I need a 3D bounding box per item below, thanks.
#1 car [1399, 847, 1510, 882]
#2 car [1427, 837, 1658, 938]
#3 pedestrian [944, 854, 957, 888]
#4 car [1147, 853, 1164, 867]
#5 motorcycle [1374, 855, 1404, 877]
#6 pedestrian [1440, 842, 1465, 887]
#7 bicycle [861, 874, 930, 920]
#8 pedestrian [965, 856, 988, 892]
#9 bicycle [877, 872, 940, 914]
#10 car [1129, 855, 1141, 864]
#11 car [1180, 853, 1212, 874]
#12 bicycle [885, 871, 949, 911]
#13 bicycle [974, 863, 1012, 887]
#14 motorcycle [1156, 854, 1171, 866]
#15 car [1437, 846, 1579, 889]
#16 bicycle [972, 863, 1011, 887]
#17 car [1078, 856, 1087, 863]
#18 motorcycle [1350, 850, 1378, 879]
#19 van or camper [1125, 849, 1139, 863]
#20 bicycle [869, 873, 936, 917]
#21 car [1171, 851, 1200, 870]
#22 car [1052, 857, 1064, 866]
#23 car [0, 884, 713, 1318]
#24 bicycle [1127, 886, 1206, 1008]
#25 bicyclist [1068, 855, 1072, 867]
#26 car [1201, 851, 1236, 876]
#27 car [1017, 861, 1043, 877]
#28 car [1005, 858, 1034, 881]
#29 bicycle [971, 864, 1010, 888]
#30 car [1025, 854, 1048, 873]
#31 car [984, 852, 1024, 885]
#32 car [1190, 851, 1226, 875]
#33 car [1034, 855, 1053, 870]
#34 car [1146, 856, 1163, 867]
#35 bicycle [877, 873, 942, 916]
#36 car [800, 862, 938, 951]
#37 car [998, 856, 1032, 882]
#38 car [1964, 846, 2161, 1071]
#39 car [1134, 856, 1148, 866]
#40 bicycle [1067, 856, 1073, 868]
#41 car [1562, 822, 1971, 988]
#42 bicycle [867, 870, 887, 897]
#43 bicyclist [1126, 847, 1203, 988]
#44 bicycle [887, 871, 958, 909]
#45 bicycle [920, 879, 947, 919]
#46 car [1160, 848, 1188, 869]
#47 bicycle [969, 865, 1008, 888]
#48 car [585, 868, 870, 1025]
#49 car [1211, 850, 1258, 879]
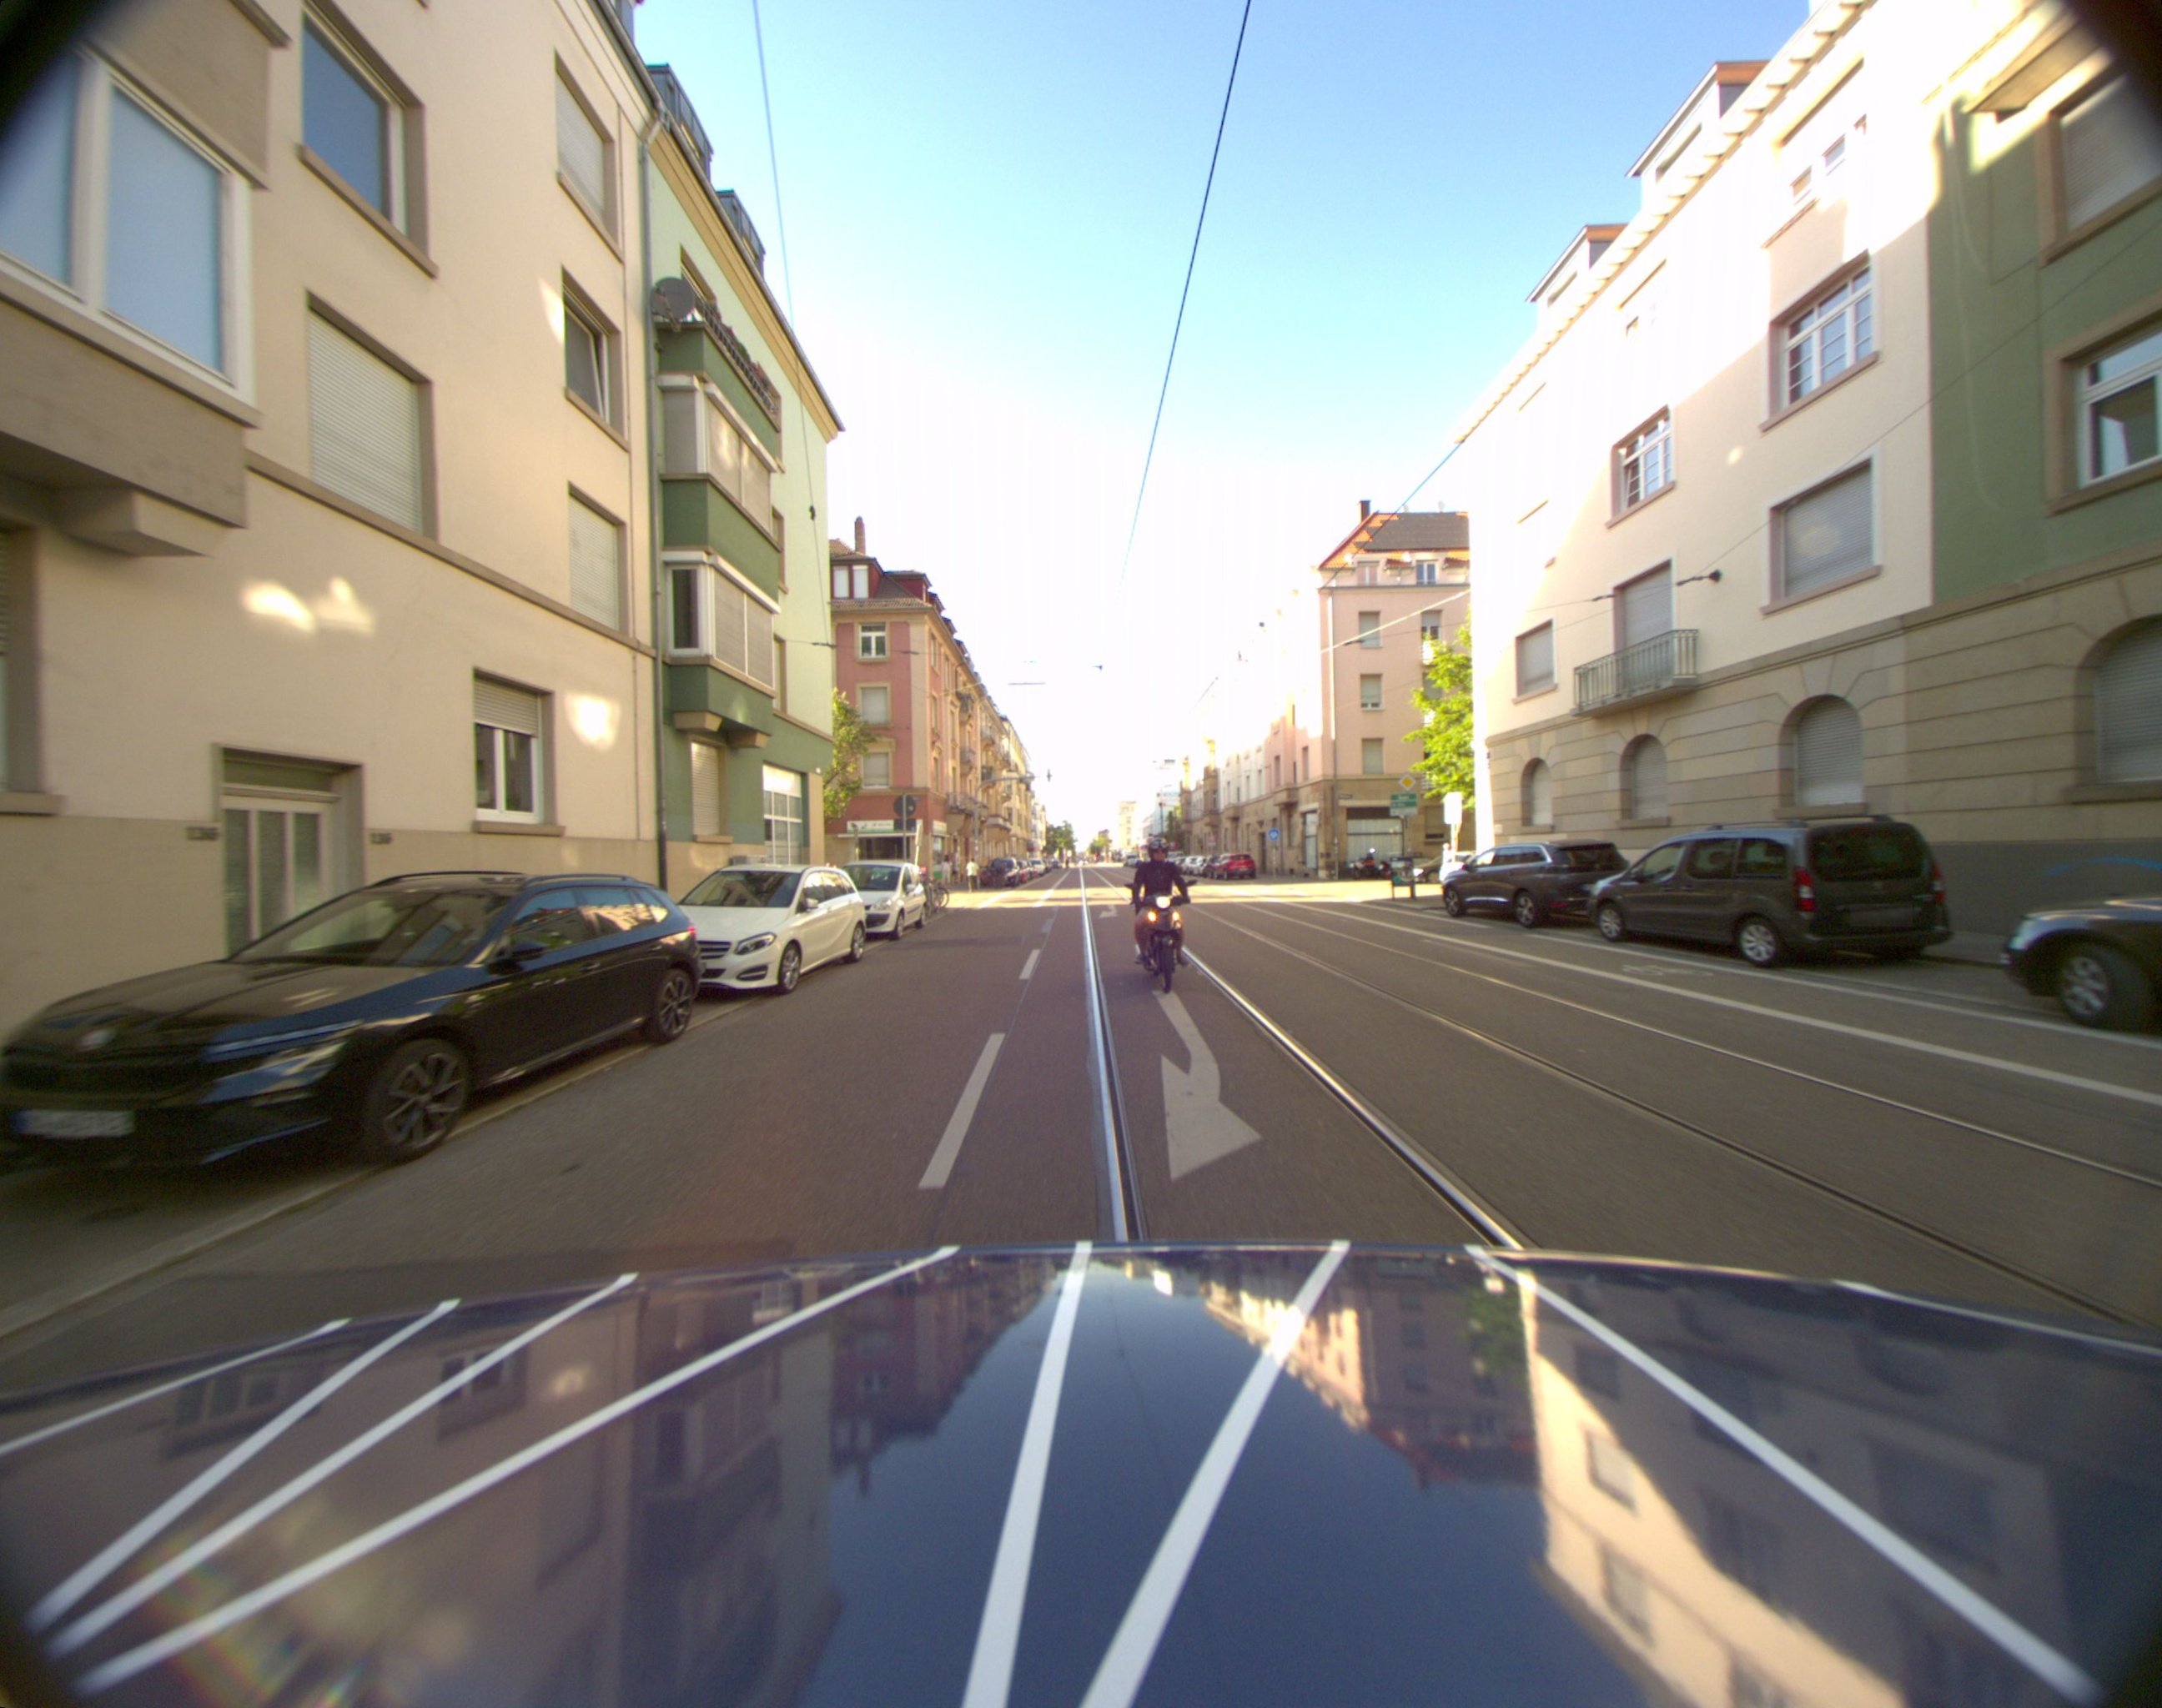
[{"bbox_3d":[16.344,0.480,33.385,3.997,1.385,1.748,-1,-1,-1],"label":"car"},{"bbox_3d":[9.238,0.596,15.790,1.788,1.680,4.667,-3,0,-2],"label":"car"},{"bbox_3d":[-6.591,0.861,38.401,0.514,1.677,0.448,-1,0,0],"label":"pedestrian"},{"bbox_3d":[9.389,0.745,95.764,1.787,1.556,4.611,-3,0,2],"label":"car"},{"bbox_3d":[15.305,0.603,37.731,2.040,1.029,0.555,-1,0,-44],"label":"motorcycle"},{"bbox_3d":[14.469,0.399,29.621,0.608,1.702,0.732,-1,0,0],"label":"pedestrian"},{"bbox_3d":[-5.019,1.157,20.606,1.727,1.148,0.469,2,0,1],"label":"bicycle"},{"bbox_3d":[-4.997,0.960,36.398,0.730,1.624,0.704,-3,2,19],"label":"pedestrian"},{"bbox_3d":[-5.091,1.146,22.456,1.727,1.148,0.469,2,0,1],"label":"bicycle"},{"bbox_3d":[9.524,0.922,134.689,1.787,1.390,4.445,-3,0,1],"label":"car"},{"bbox_3d":[9.350,0.749,62.056,1.776,1.538,4.365,-3,0,-2],"label":"car"},{"bbox_3d":[-5.101,1.150,23.651,1.847,1.148,0.469,2,0,1],"label":"bicycle"},{"bbox_3d":[-4.670,1.107,40.305,1.964,1.220,0.527,0,1,0],"label":"bicycle"},{"bbox_3d":[9.649,0.741,89.106,0.884,1.343,1.961,-2,0,33],"label":"motorcycle"},{"bbox_3d":[15.750,0.518,28.179,4.228,1.456,1.783,-1,-1,-1],"label":"car"},{"bbox_3d":[-4.665,1.109,39.733,1.964,1.220,0.527,0,1,0],"label":"bicycle"},{"bbox_3d":[0.360,1.324,182.037,1.971,1.577,4.000,-2,0,0],"label":"car"},{"bbox_3d":[14.065,0.508,37.689,0.948,1.410,2.029,-1,0,30],"label":"motorcycle"},{"bbox_3d":[9.485,0.308,141.753,2.177,2.453,6.231,-3,0,-1],"label":"van or camper"},{"bbox_3d":[-4.961,1.136,21.184,1.727,1.148,0.469,2,0,1],"label":"bicycle"},{"bbox_3d":[9.230,0.534,67.476,1.788,1.514,4.359,-3,0,-1],"label":"car"},{"bbox_3d":[-3.988,1.282,131.432,1.714,1.399,4.358,1,0,1],"label":"car"},{"bbox_3d":[-4.451,1.090,5.222,1.659,1.557,4.338,-1,0,0],"label":"car"},{"bbox_3d":[0.954,1.017,8.866,0.767,1.191,1.752,-1,0,2],"label":"bicycle"},{"bbox_3d":[-1.569,1.042,108.280,0.509,1.692,0.845,-2,0,0],"label":"bicyclist"},{"bbox_3d":[9.233,0.631,51.232,1.788,1.543,3.019,-3,0,0],"label":"car"},{"bbox_3d":[-4.342,1.234,64.851,1.658,1.241,4.505,-1,0,3],"label":"car"},{"bbox_3d":[-4.404,1.072,54.798,1.658,1.504,4.474,-1,0,0],"label":"car"},{"bbox_3d":[-4.648,1.111,39.172,1.964,1.220,0.527,0,1,0],"label":"bicycle"},{"bbox_3d":[-4.129,0.879,71.025,1.847,1.681,4.504,-1,0,0],"label":"car"},{"bbox_3d":[-4.340,0.803,43.533,1.757,1.725,4.506,2,0,1],"label":"car"},{"bbox_3d":[9.430,0.680,56.818,1.788,1.612,4.178,-3,0,-2],"label":"car"},{"bbox_3d":[-4.297,0.967,88.159,1.863,1.656,4.562,-1,0,1],"label":"car"},{"bbox_3d":[9.763,0.943,101.009,1.788,1.306,4.221,-3,0,0],"label":"car"},{"bbox_3d":[-4.915,1.151,21.864,1.727,1.148,0.469,2,0,1],"label":"bicycle"},{"bbox_3d":[-4.409,1.013,16.437,1.788,1.622,4.000,-1,0,0],"label":"car"},{"bbox_3d":[-4.330,0.979,50.217,1.757,1.585,3.730,-1,0,1],"label":"car"},{"bbox_3d":[9.021,0.775,4.630,1.788,1.617,4.608,-3,0,-2],"label":"car"},{"bbox_3d":[9.435,1.027,119.867,1.787,1.437,4.841,-3,0,0],"label":"car"},{"bbox_3d":[-1.623,1.117,108.210,0.775,1.700,1.937,-2,0,0],"label":"bicycle"},{"bbox_3d":[9.257,0.587,10.933,1.787,1.805,4.528,-3,0,1],"label":"car"},{"bbox_3d":[-9.532,1.366,35.578,0.469,1.148,1.728,-1,0,0],"label":"bicycle"},{"bbox_3d":[0.937,0.695,8.786,0.774,1.531,0.939,-1,0,1],"label":"bicyclist"},{"bbox_3d":[-5.058,1.140,24.342,2.091,1.148,0.848,1,0,1],"label":"bicycle"},{"bbox_3d":[-4.125,1.244,21.382,0.353,1.038,1.728,-1,0,2],"label":"bicycle"},{"bbox_3d":[9.418,0.429,77.355,1.978,1.937,5.251,-3,0,-1],"label":"car"},{"bbox_3d":[-4.686,1.146,38.593,1.928,1.154,0.527,0,1,0],"label":"bicycle"},{"bbox_3d":[-4.390,1.031,10.310,1.788,1.567,4.326,-1,0,0],"label":"car"},{"bbox_3d":[9.332,0.615,46.517,1.788,1.597,4.396,-3,0,-2],"label":"car"}]
